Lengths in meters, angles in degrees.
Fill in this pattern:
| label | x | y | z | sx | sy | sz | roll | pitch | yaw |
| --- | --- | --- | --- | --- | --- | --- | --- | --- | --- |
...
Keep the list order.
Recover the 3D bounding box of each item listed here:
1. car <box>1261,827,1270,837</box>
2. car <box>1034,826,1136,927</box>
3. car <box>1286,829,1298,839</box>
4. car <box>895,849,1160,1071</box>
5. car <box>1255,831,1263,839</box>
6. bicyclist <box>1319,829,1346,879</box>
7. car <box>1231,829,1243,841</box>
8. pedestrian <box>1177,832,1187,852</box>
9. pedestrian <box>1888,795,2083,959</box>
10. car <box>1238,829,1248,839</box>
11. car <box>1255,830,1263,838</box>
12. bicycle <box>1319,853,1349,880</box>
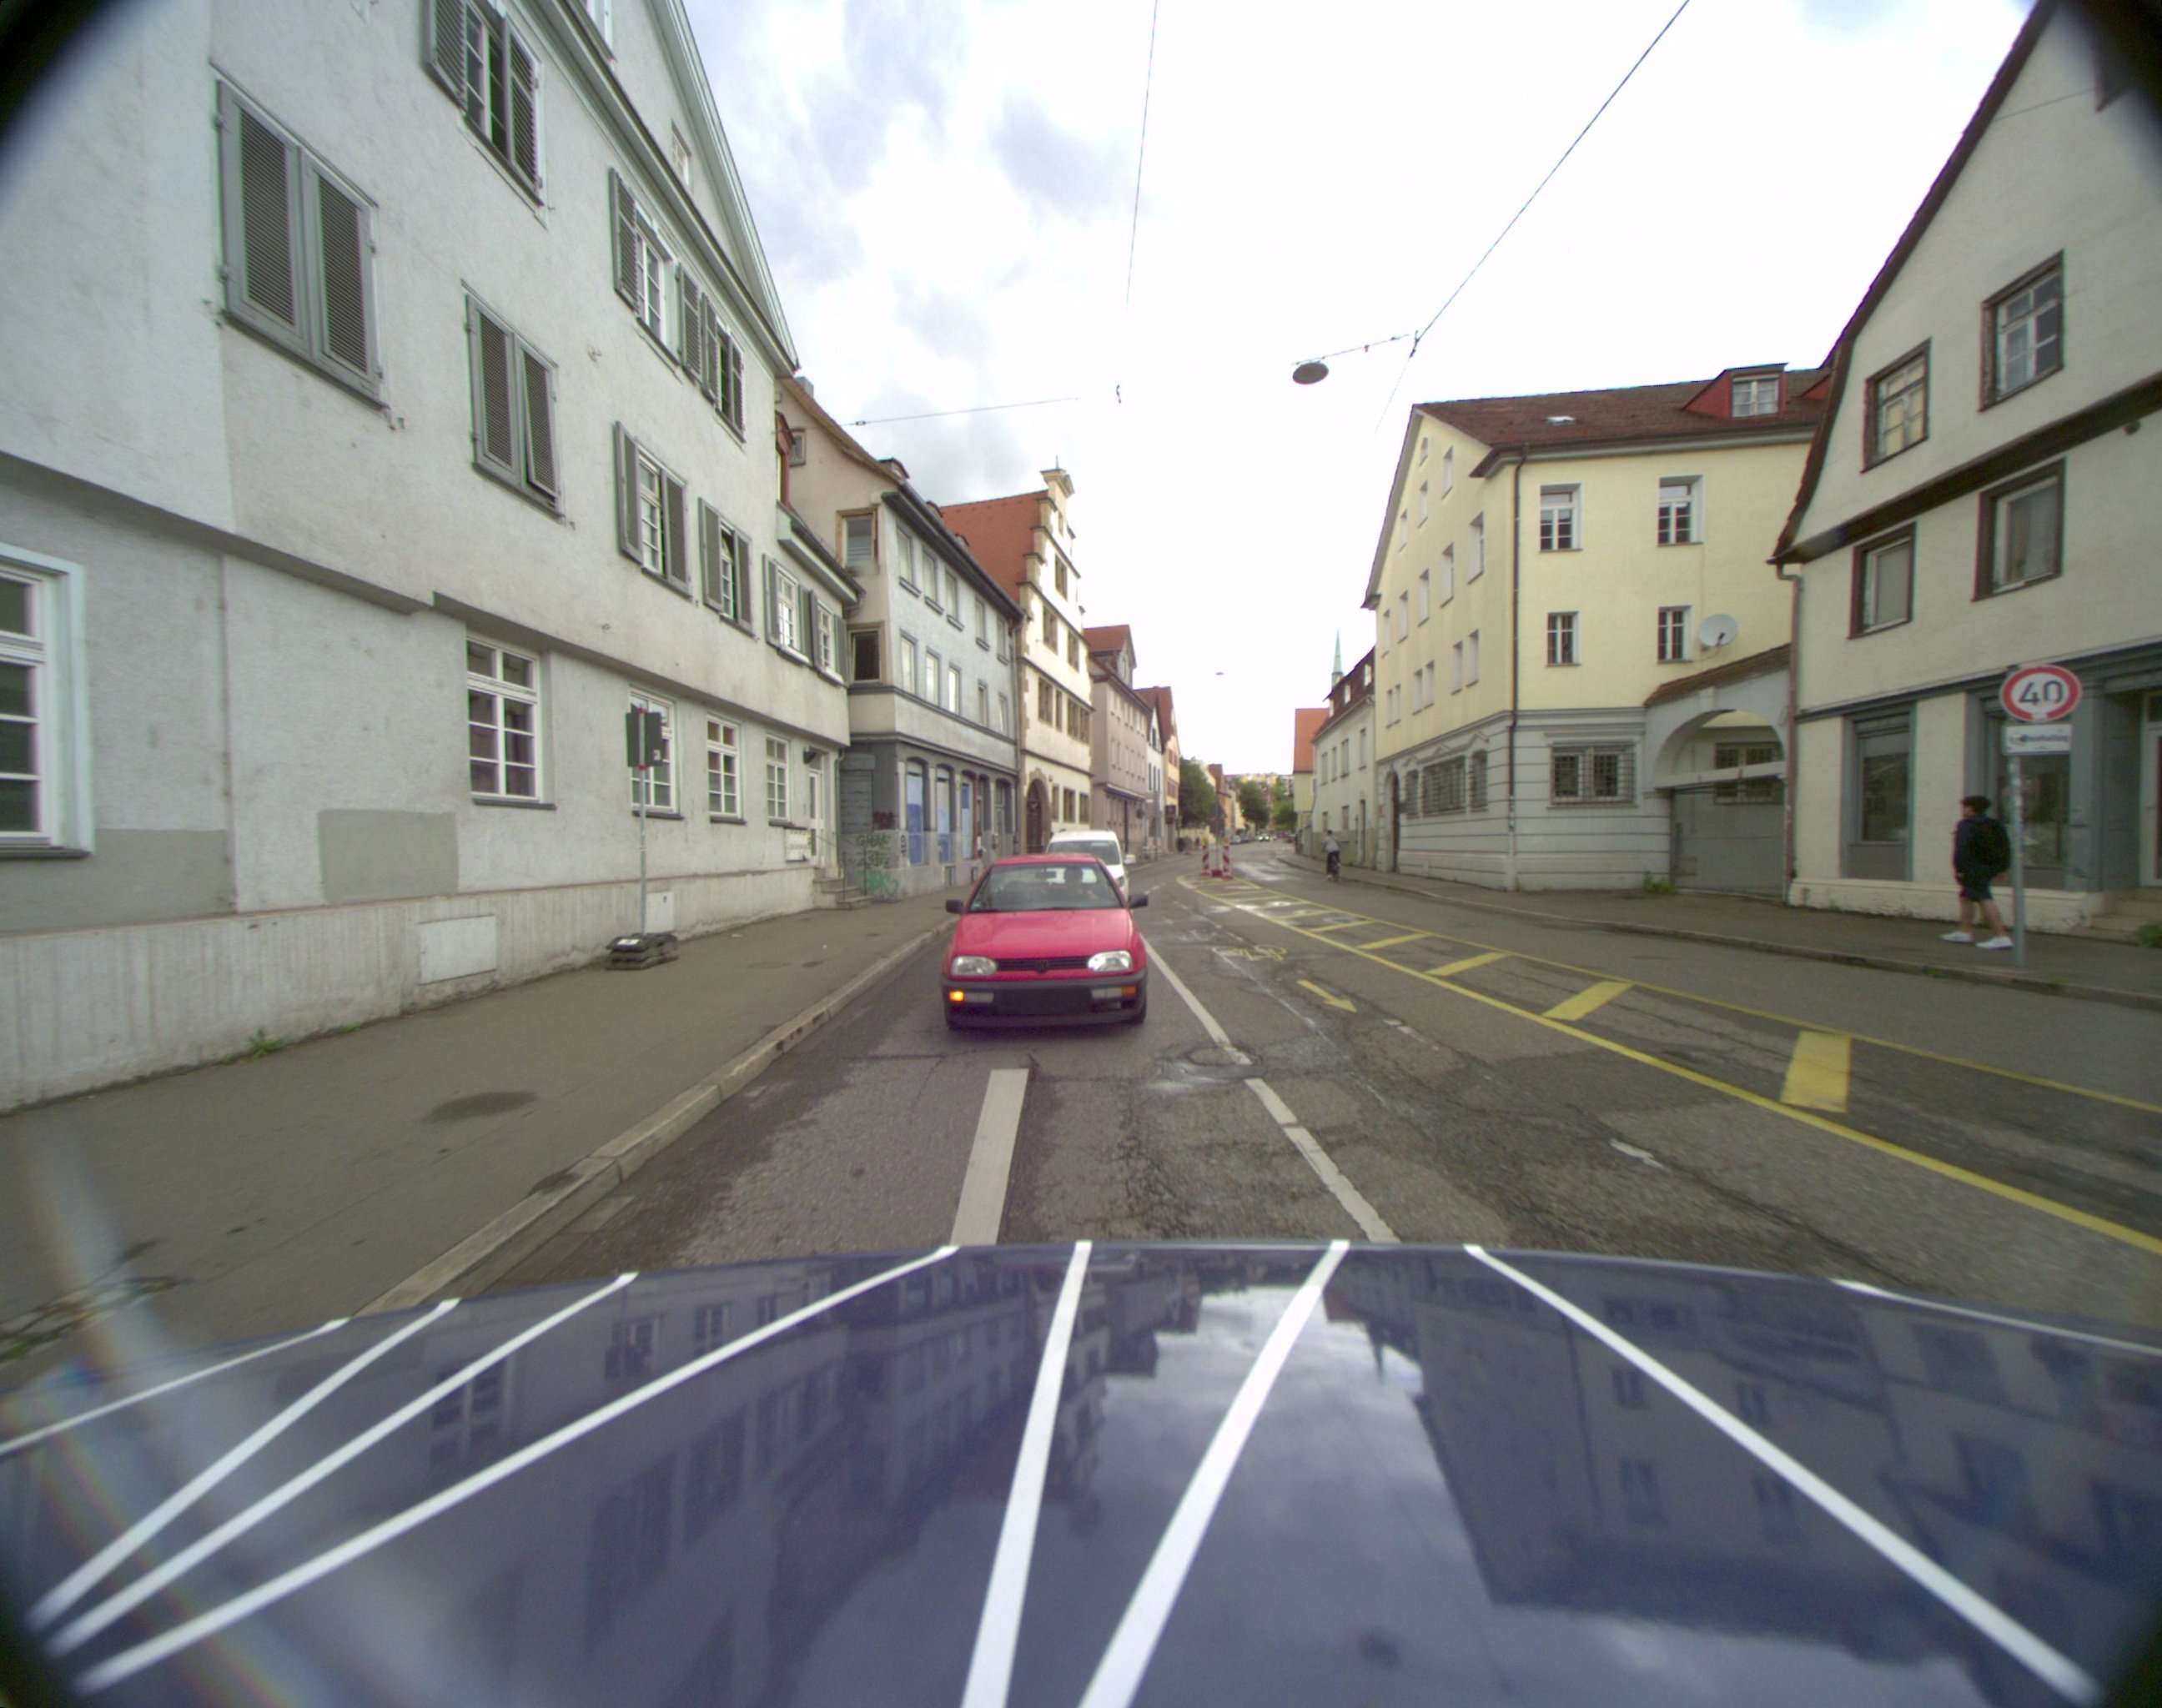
| label | x | y | z | sx | sy | sz | roll | pitch | yaw |
| --- | --- | --- | --- | --- | --- | --- | --- | --- | --- |
| car | 40.944 | -4.870 | 168.641 | 1.996 | 2.002 | 4.003 | 0 | 1 | 12 |
| car | 0.093 | 0.378 | 15.659 | 1.804 | 1.781 | 4.348 | 0 | 1 | 1 |
| car | 41.732 | -3.941 | 150.256 | 2.057 | 2.002 | 4.003 | 0 | 1 | 12 |
| car | -0.357 | 0.744 | 7.399 | 1.804 | 1.458 | 3.999 | -3 | 1 | 1 |
| car | 48.047 | -5.079 | 204.804 | 1.996 | 2.002 | 4.003 | 0 | 1 | 12 |
| bicyclist | 8.782 | -0.005 | 26.542 | 0.725 | 1.691 | 0.811 | 0 | 1 | 3 |
| car | 28.174 | -3.404 | 137.001 | 1.996 | 2.002 | 4.003 | 0 | 1 | 12 |
| pedestrian | 10.006 | -1.200 | 75.616 | 0.878 | 1.889 | 0.897 | 0 | 1 | 0 |
| pedestrian | 11.088 | 0.276 | 9.373 | 1.057 | 1.875 | 1.092 | -2 | 0 | 3 |
| car | 33.738 | -4.100 | 157.761 | 1.996 | 2.002 | 4.003 | 0 | 1 | 12 |
| car | 44.559 | -4.929 | 190.325 | 1.996 | 2.002 | 4.003 | 0 | 1 | 12 |
| bicycle | 8.840 | 0.408 | 26.602 | 0.542 | 0.887 | 1.880 | 0 | 1 | 3 |
